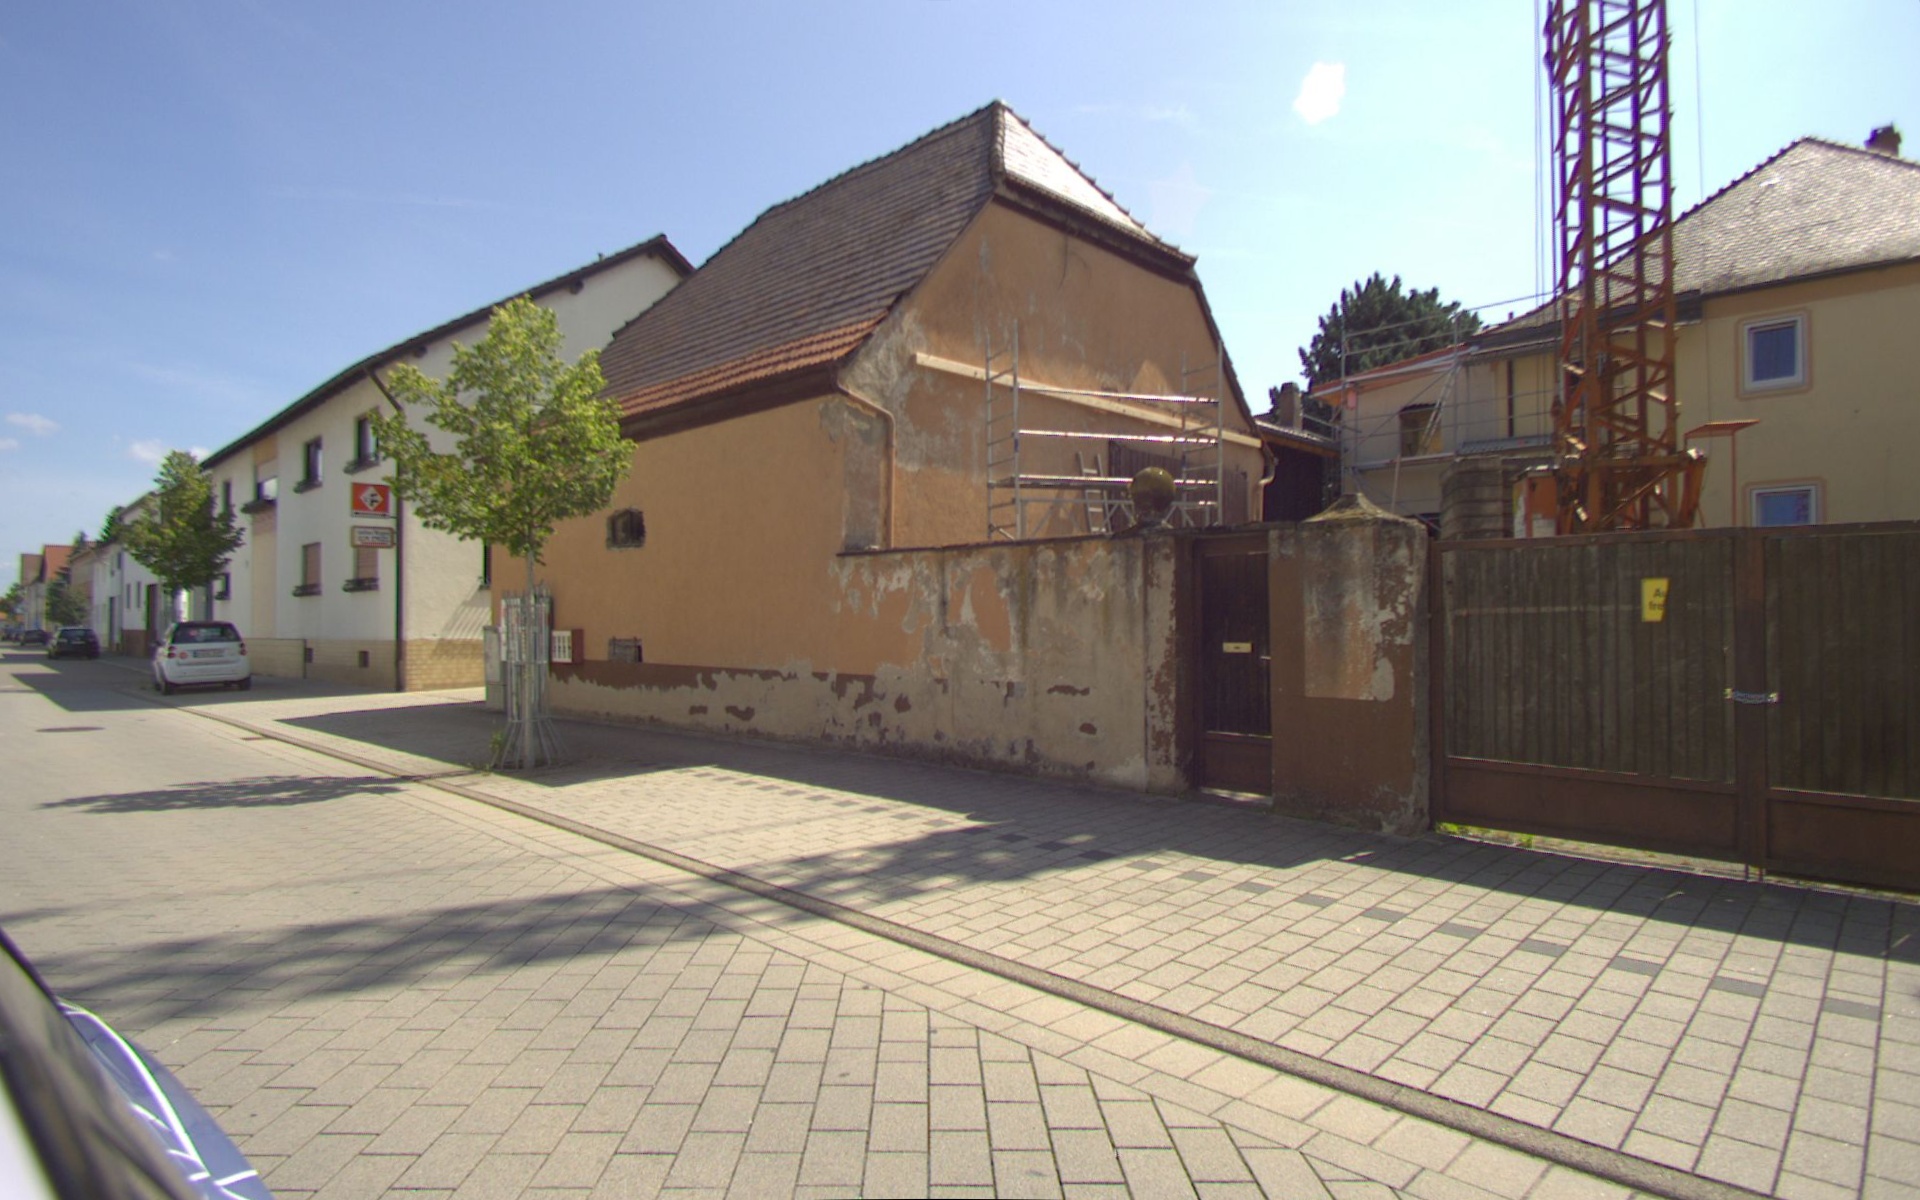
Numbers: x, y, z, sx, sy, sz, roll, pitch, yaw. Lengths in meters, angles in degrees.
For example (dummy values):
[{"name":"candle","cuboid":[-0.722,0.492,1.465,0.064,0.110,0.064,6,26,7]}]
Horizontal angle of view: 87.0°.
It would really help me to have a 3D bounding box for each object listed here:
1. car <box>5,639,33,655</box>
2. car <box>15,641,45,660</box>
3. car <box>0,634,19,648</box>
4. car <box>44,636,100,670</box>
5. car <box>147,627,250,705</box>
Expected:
[{"name":"car","cuboid":[-97.946,4.866,105.317,4.000,1.564,1.829,-2,-3,43]},{"name":"car","cuboid":[-82.981,4.485,90.317,1.825,1.711,4.003,2,-3,-44]},{"name":"car","cuboid":[-114.957,4.930,122.076,1.971,1.592,4.002,2,-3,-45]},{"name":"car","cuboid":[-43.924,2.588,50.027,3.955,1.578,1.728,-2,-3,44]},{"name":"car","cuboid":[-17.187,1.439,22.808,1.554,1.573,2.825,-2,0,-43]}]
